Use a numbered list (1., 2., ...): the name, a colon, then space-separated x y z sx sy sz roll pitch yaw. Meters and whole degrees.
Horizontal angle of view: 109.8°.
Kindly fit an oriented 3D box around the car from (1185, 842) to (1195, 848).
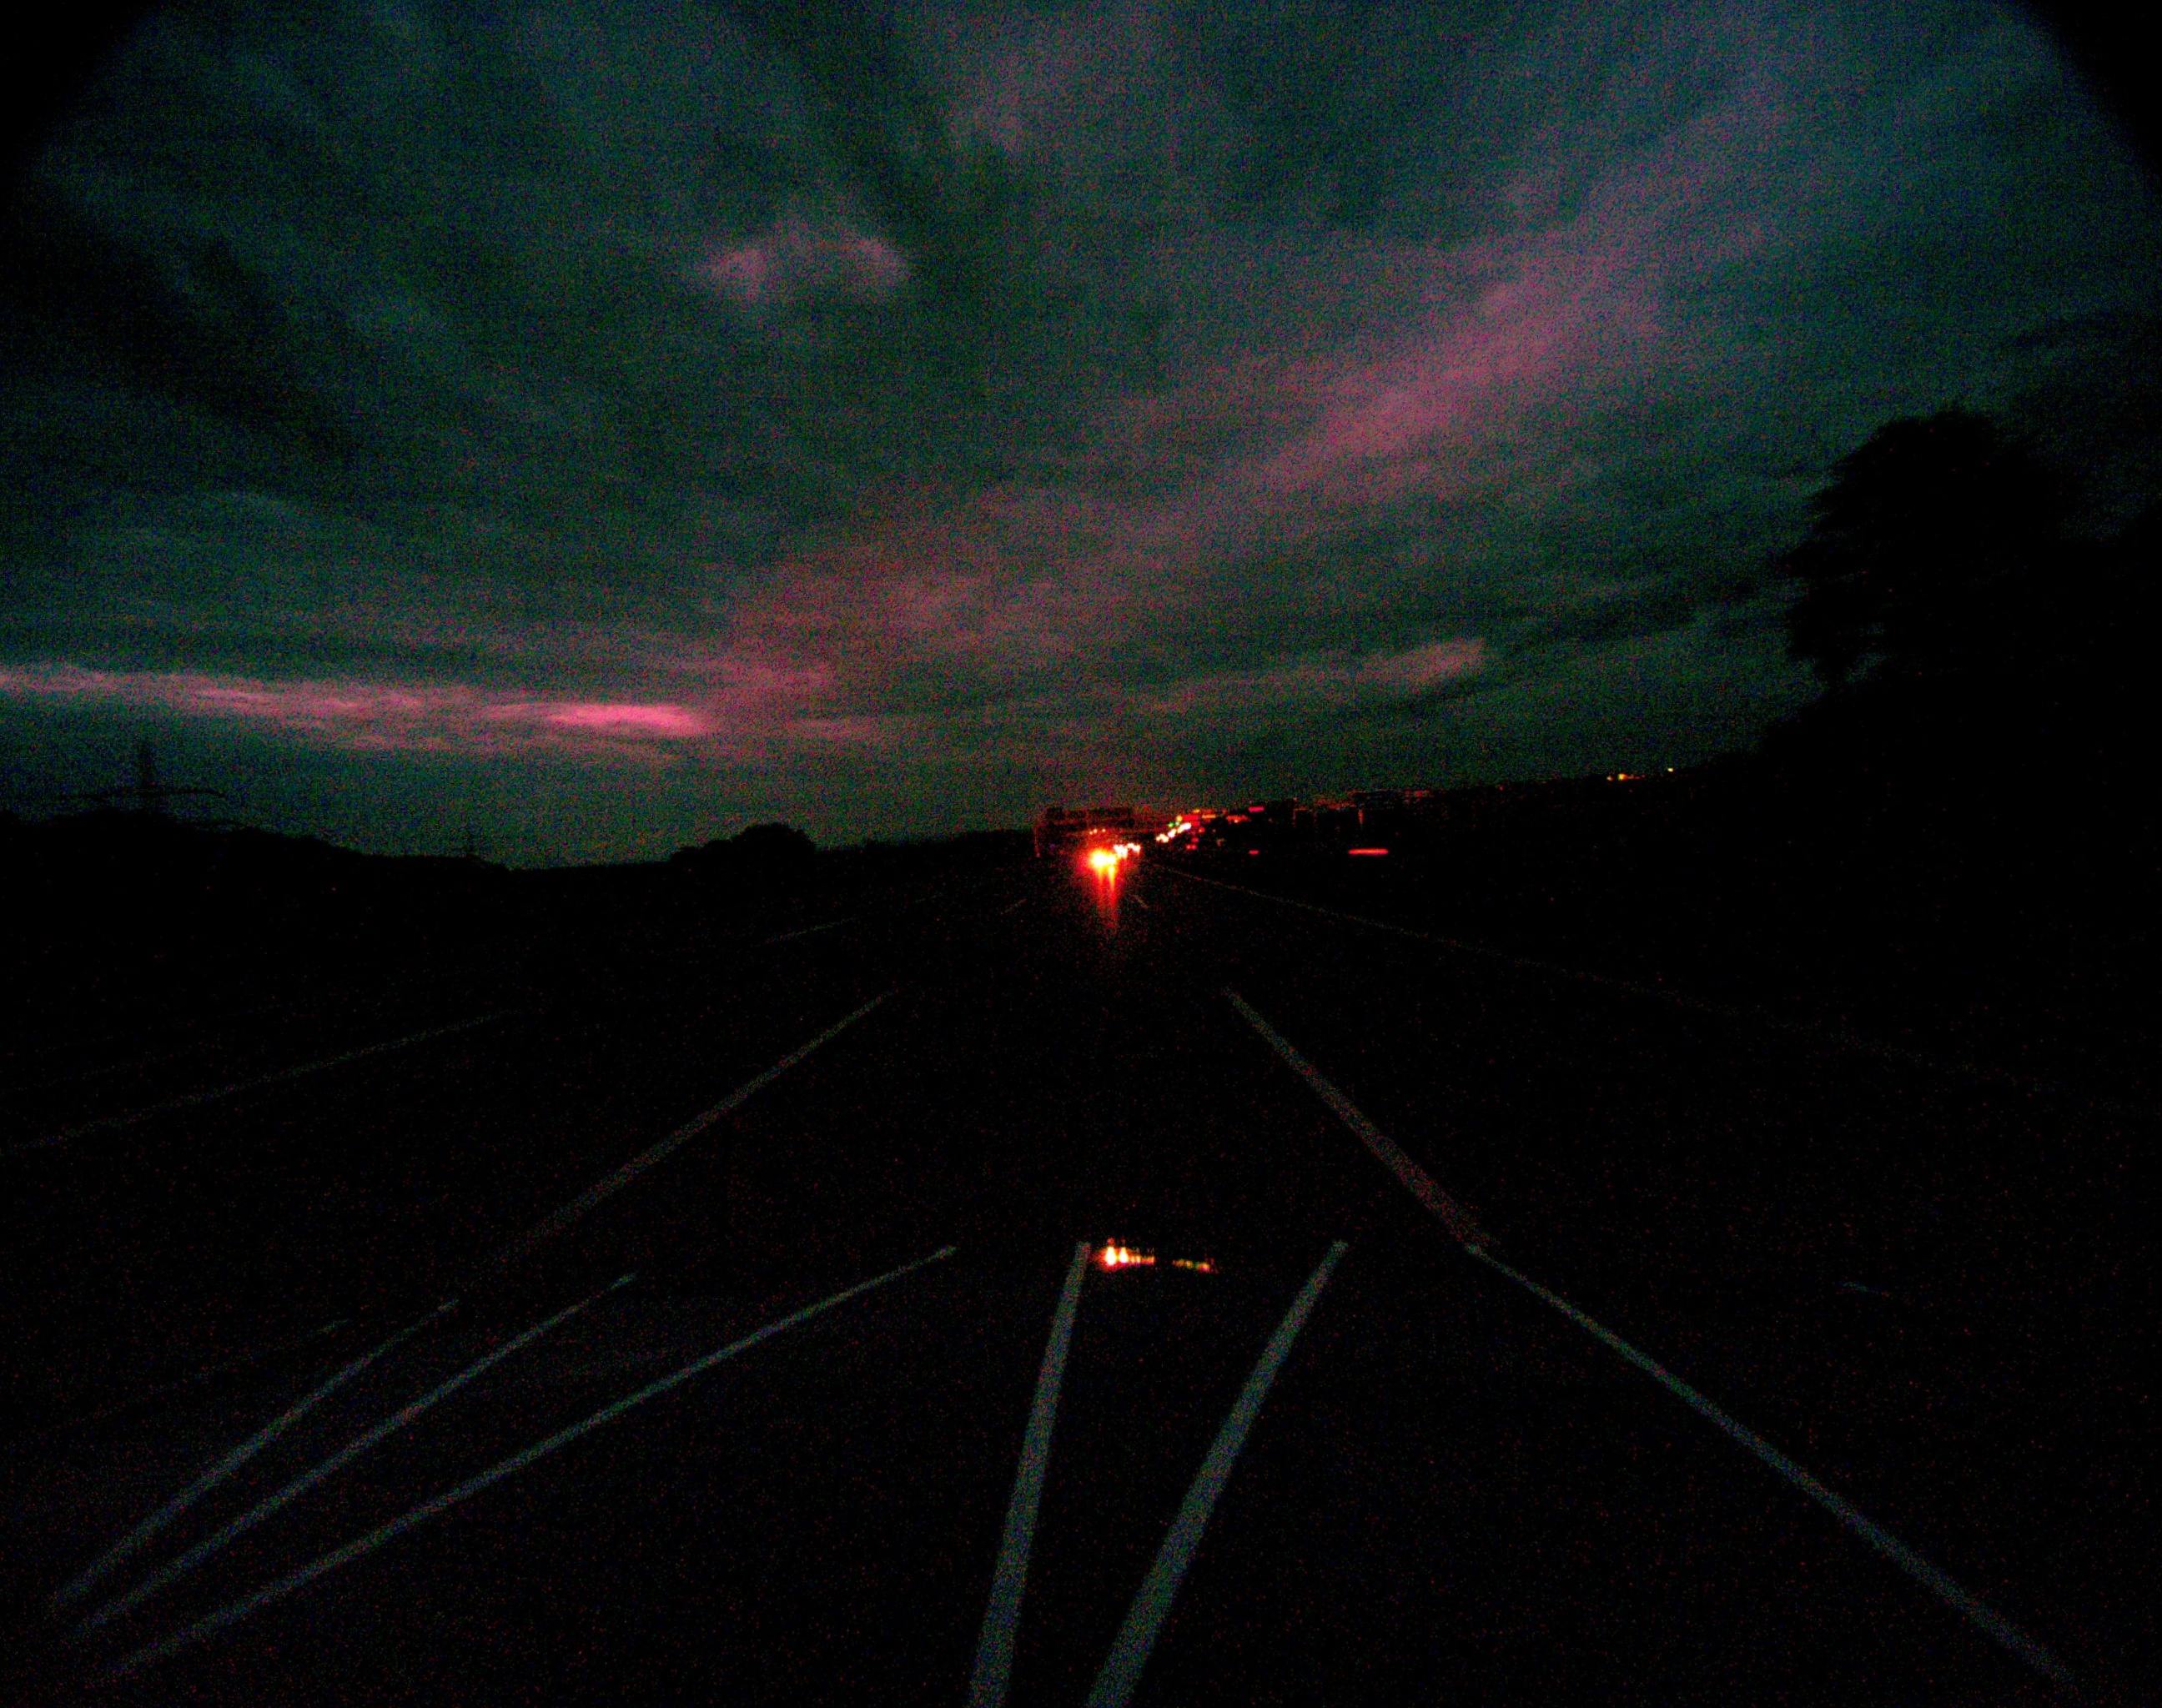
1. car: 27.798 -2.325 194.205 1.998 1.350 4.865 -2 0 2

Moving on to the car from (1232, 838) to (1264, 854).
1. car: 15.468 -0.708 70.757 1.998 1.395 4.329 -2 1 0

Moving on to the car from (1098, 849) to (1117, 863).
1. car: 2.990 0.232 84.473 1.998 1.342 4.175 0 2 4

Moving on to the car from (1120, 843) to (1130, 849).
1. car: 11.325 -2.087 196.990 1.997 1.342 4.177 -4 2 11

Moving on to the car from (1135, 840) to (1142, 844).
1. car: 19.732 -4.127 261.839 1.997 1.342 4.176 -5 2 7

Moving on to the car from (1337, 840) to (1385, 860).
1. car: 18.613 -0.280 50.764 1.726 1.220 4.183 -2 0 2
